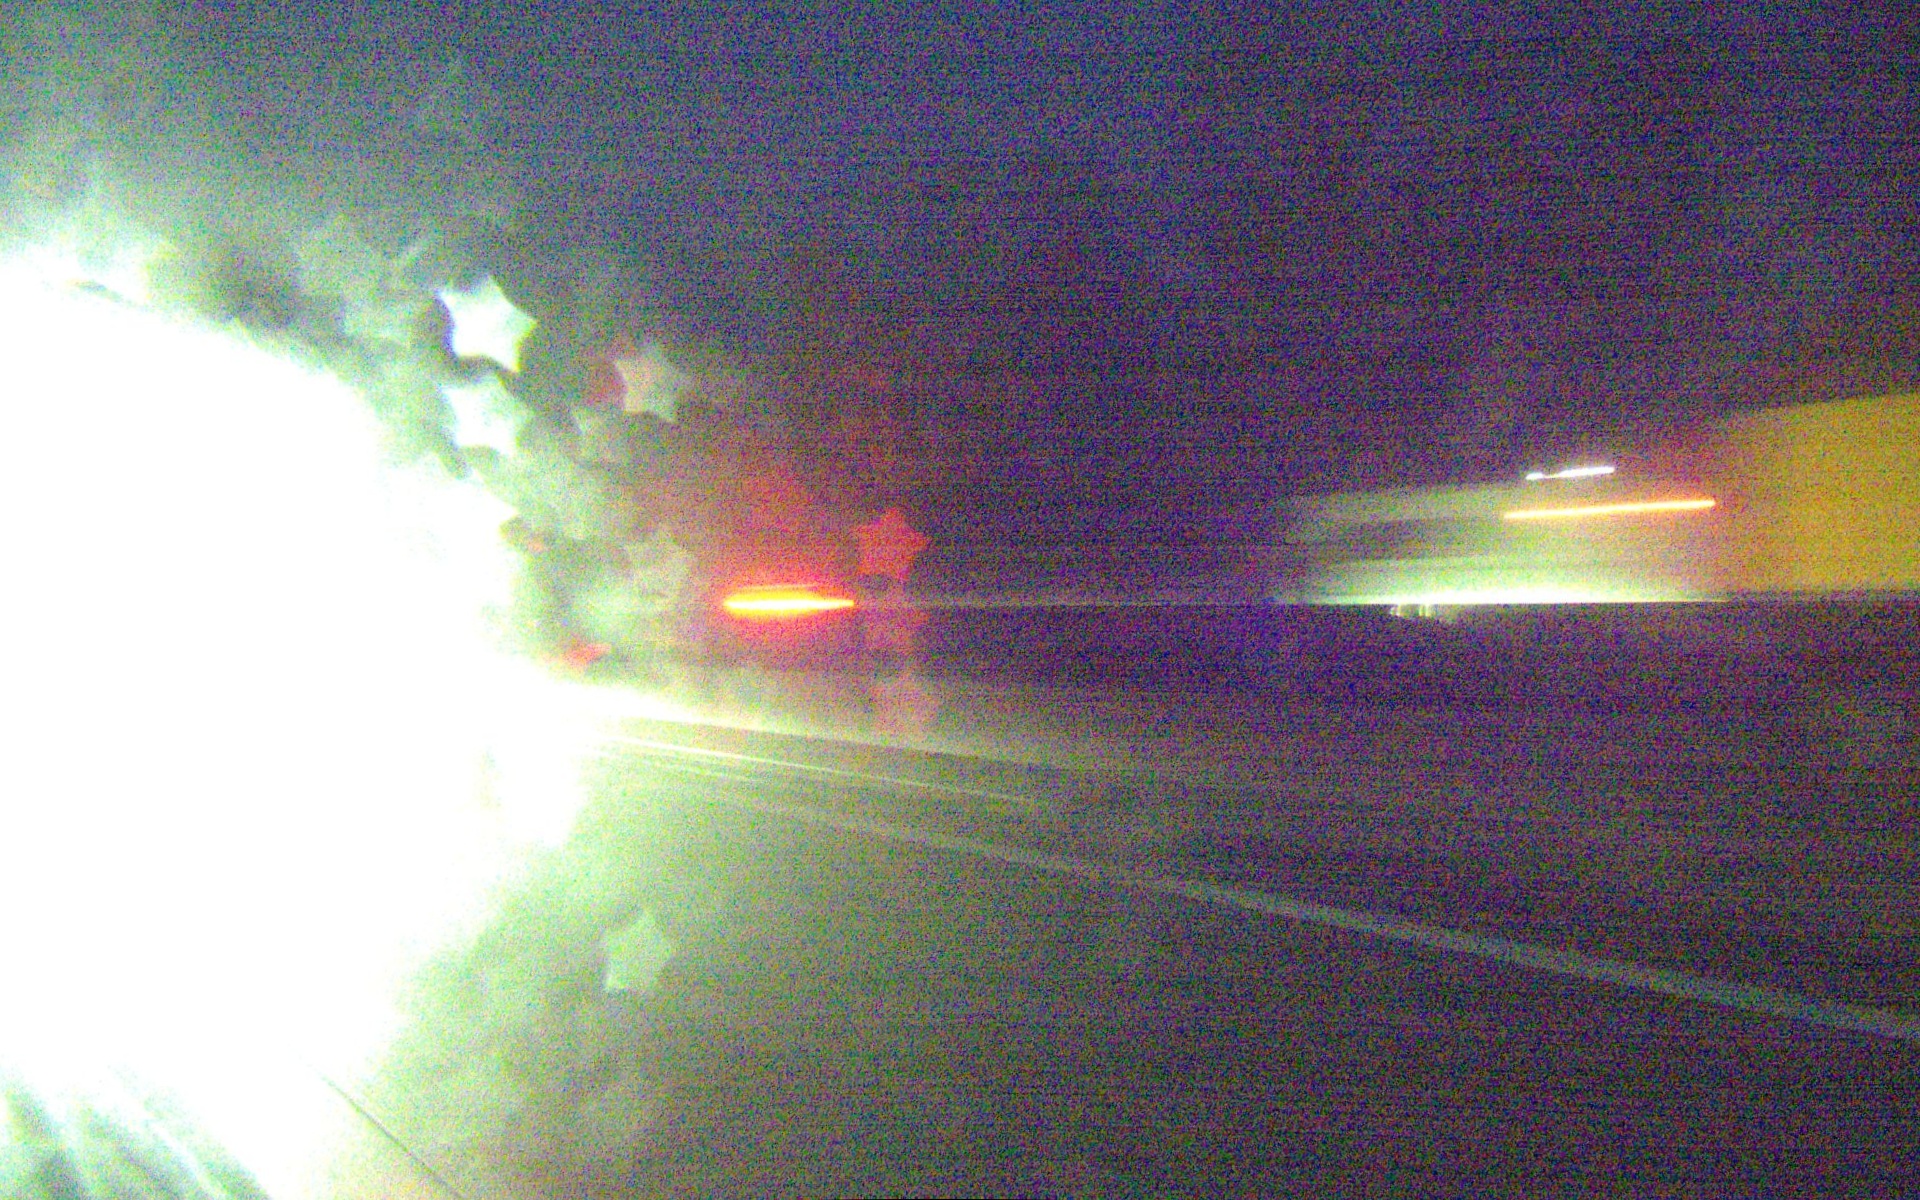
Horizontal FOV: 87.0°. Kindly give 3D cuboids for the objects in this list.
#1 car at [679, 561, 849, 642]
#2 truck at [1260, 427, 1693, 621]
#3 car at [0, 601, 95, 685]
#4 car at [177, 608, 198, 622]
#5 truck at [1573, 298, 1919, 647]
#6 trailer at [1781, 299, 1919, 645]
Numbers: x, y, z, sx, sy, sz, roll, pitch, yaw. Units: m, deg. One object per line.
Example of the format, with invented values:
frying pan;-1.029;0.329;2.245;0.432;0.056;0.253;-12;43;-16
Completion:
car;-4.878;0.068;24.945;3.998;1.699;1.973;-3;2;41
truck;8.508;-1.105;17.109;6.116;2.691;2.263;-2;3;40
car;-24.917;1.145;27.209;3.999;2.028;1.972;-3;0;42
car;-111.854;2.185;146.495;1.970;1.866;4.004;-6;2;-43
truck;14.091;-1.949;17.075;5.877;5.135;2.725;-3;2;40
trailer;19.763;-2.270;12.331;14.921;5.129;2.744;-3;2;40
